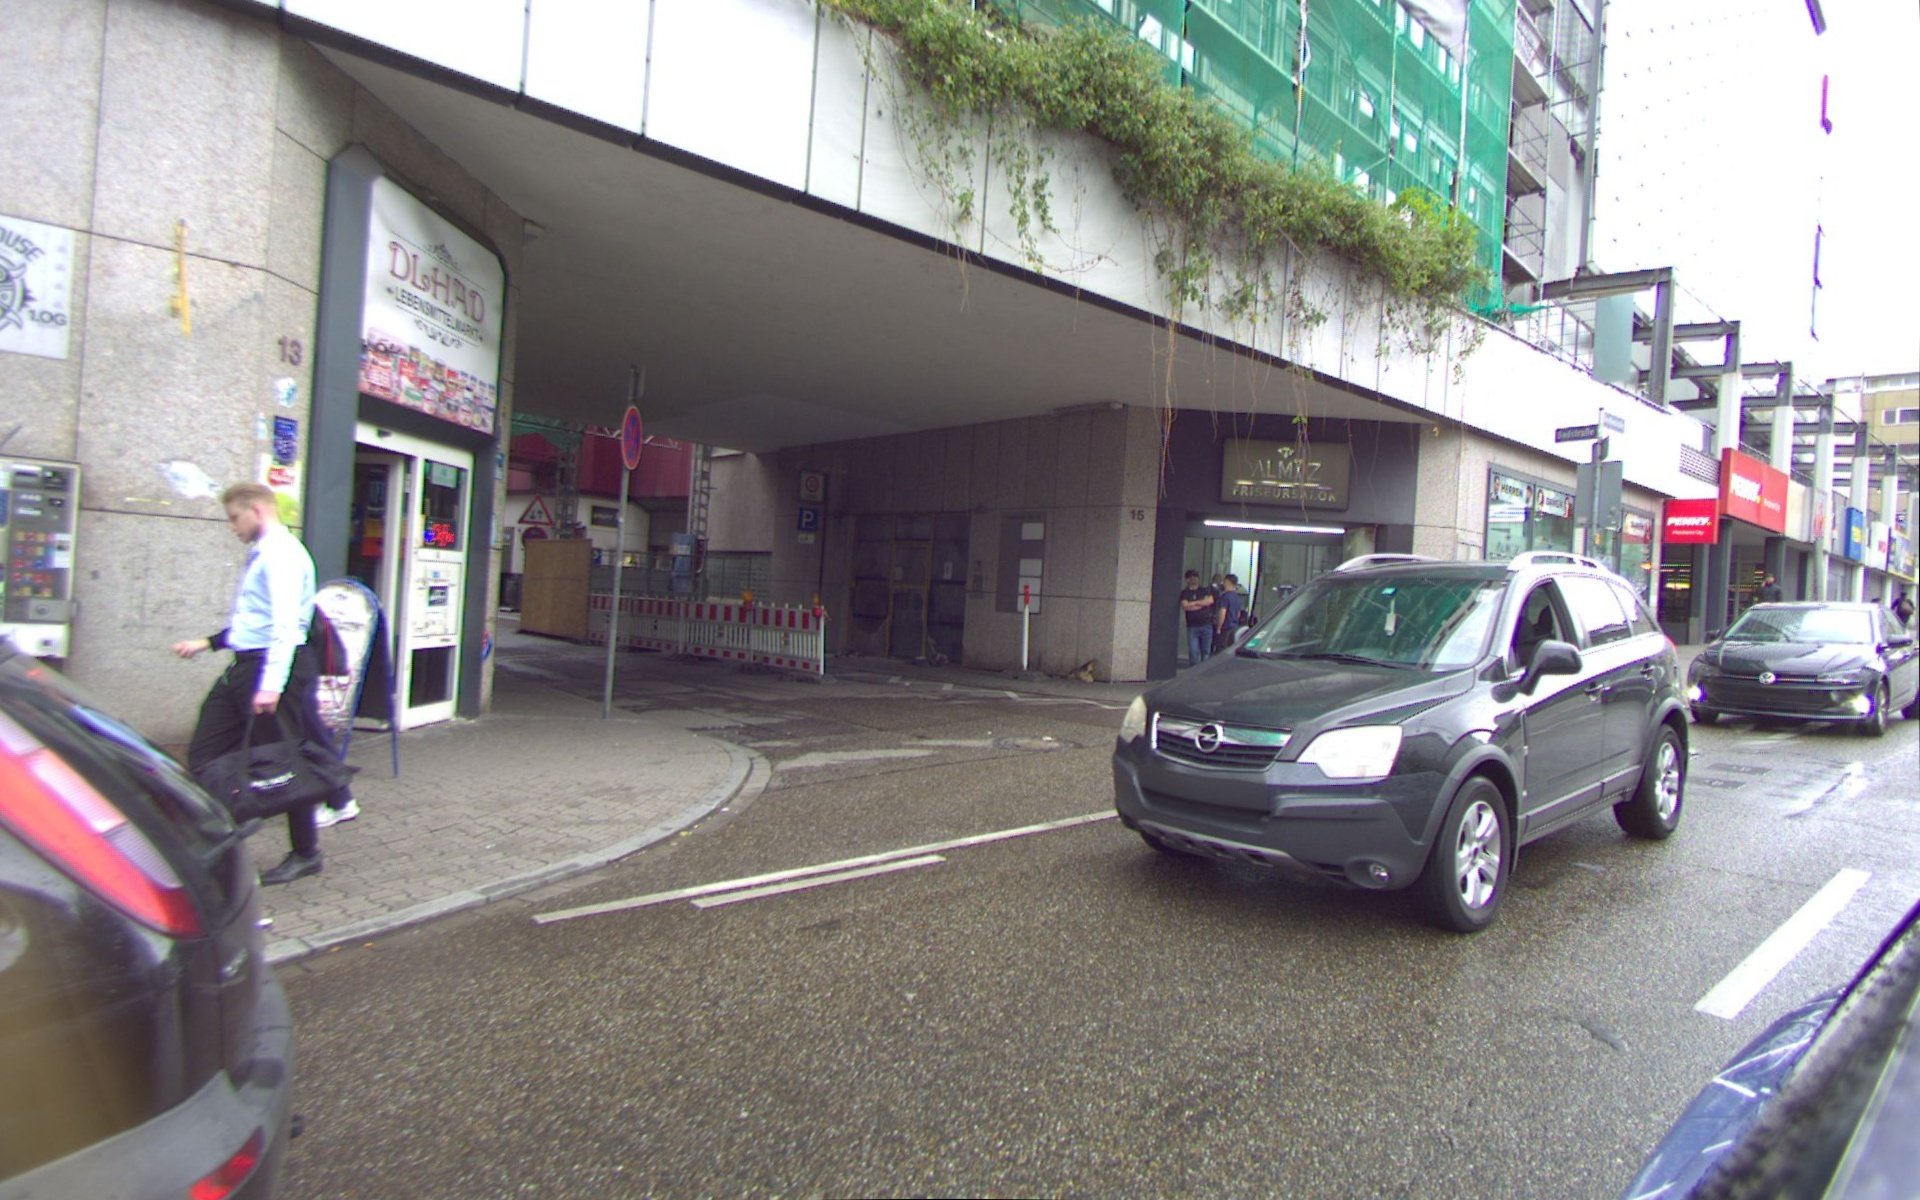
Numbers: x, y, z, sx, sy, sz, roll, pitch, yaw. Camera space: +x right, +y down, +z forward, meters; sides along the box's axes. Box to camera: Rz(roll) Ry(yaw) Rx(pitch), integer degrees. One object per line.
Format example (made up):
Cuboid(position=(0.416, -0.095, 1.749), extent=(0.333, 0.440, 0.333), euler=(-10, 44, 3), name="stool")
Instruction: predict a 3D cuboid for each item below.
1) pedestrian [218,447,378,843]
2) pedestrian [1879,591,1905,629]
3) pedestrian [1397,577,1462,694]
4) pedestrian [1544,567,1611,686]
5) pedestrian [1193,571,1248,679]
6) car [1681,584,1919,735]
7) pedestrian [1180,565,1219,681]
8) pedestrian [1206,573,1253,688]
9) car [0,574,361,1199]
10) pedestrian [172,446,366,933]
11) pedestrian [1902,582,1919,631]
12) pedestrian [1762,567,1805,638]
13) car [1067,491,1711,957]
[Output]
Cuboid(position=(-3.583, 0.199, 5.473), extent=(0.629, 1.957, 0.738), euler=(-1, 4, -41), name="pedestrian")
Cuboid(position=(29.633, 0.312, 32.186), extent=(0.570, 1.181, 0.509), euler=(-1, 3, -42), name="pedestrian")
Cuboid(position=(6.909, 0.503, 14.890), extent=(0.722, 1.663, 0.637), euler=(-1, 1, -44), name="pedestrian")
Cuboid(position=(8.857, 0.359, 14.518), extent=(0.675, 1.647, 0.571), euler=(3, 3, 43), name="pedestrian")
Cuboid(position=(4.573, 0.416, 17.801), extent=(0.730, 1.838, 0.773), euler=(2, 2, 3), name="pedestrian")
Cuboid(position=(10.369, 0.616, 12.182), extent=(4.088, 1.523, 1.758), euler=(1, 0, -39), name="car")
Cuboid(position=(3.610, 0.336, 15.285), extent=(0.474, 1.729, 0.467), euler=(0, 0, 1), name="pedestrian")
Cuboid(position=(3.865, 0.420, 14.522), extent=(0.630, 1.615, 0.574), euler=(0, 0, 17), name="pedestrian")
Cuboid(position=(-2.792, 0.665, 1.017), extent=(3.558, 1.447, 1.610), euler=(1, 0, -40), name="car")
Cuboid(position=(-3.117, 0.353, 4.557), extent=(0.629, 1.959, 0.737), euler=(-1, 1, -41), name="pedestrian")
Cuboid(position=(29.865, 0.193, 31.629), extent=(0.570, 1.519, 0.509), euler=(-1, 3, -42), name="pedestrian")
Cuboid(position=(20.102, 0.063, 24.721), extent=(0.499, 1.699, 0.581), euler=(0, 2, -20), name="pedestrian")
Cuboid(position=(2.694, 0.493, 5.879), extent=(4.089, 1.788, 1.764), euler=(1, 0, -40), name="car")
